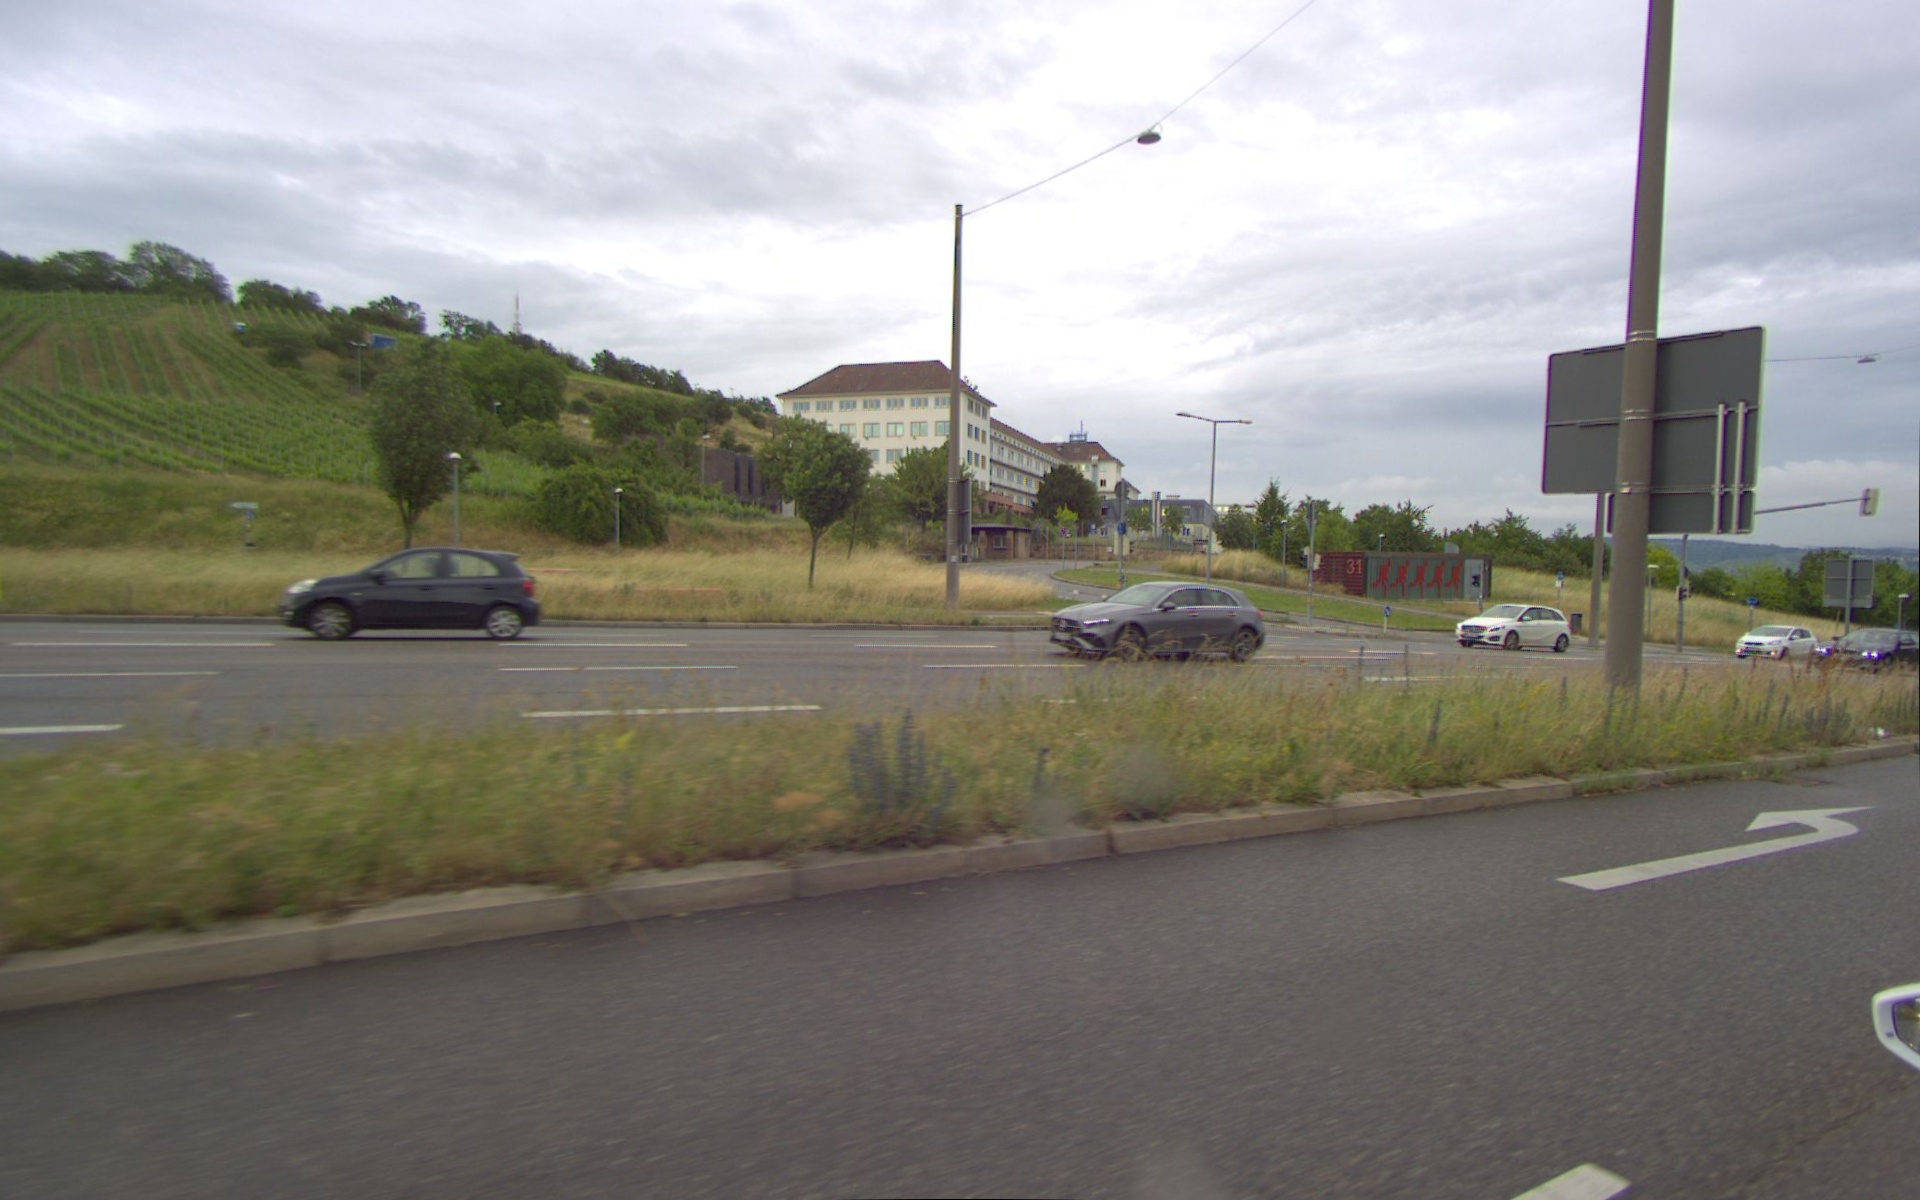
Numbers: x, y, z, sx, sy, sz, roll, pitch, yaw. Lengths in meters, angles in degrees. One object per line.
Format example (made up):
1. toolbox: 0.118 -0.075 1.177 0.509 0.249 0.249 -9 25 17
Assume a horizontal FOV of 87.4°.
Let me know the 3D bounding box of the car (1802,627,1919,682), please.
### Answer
1. car: 29.131 1.747 32.100 4.406 1.524 1.744 3 1 -27

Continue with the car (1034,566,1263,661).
1. car: 3.570 0.270 18.998 3.949 1.538 1.761 3 1 -27

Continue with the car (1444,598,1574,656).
1. car: 18.675 0.925 34.149 4.124 1.670 1.761 4 1 -27

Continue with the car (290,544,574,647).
1. car: -8.660 -0.063 16.780 3.949 1.402 1.761 4 1 -27

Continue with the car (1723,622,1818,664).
1. car: 33.775 1.807 41.867 3.726 1.482 1.645 4 1 -27
